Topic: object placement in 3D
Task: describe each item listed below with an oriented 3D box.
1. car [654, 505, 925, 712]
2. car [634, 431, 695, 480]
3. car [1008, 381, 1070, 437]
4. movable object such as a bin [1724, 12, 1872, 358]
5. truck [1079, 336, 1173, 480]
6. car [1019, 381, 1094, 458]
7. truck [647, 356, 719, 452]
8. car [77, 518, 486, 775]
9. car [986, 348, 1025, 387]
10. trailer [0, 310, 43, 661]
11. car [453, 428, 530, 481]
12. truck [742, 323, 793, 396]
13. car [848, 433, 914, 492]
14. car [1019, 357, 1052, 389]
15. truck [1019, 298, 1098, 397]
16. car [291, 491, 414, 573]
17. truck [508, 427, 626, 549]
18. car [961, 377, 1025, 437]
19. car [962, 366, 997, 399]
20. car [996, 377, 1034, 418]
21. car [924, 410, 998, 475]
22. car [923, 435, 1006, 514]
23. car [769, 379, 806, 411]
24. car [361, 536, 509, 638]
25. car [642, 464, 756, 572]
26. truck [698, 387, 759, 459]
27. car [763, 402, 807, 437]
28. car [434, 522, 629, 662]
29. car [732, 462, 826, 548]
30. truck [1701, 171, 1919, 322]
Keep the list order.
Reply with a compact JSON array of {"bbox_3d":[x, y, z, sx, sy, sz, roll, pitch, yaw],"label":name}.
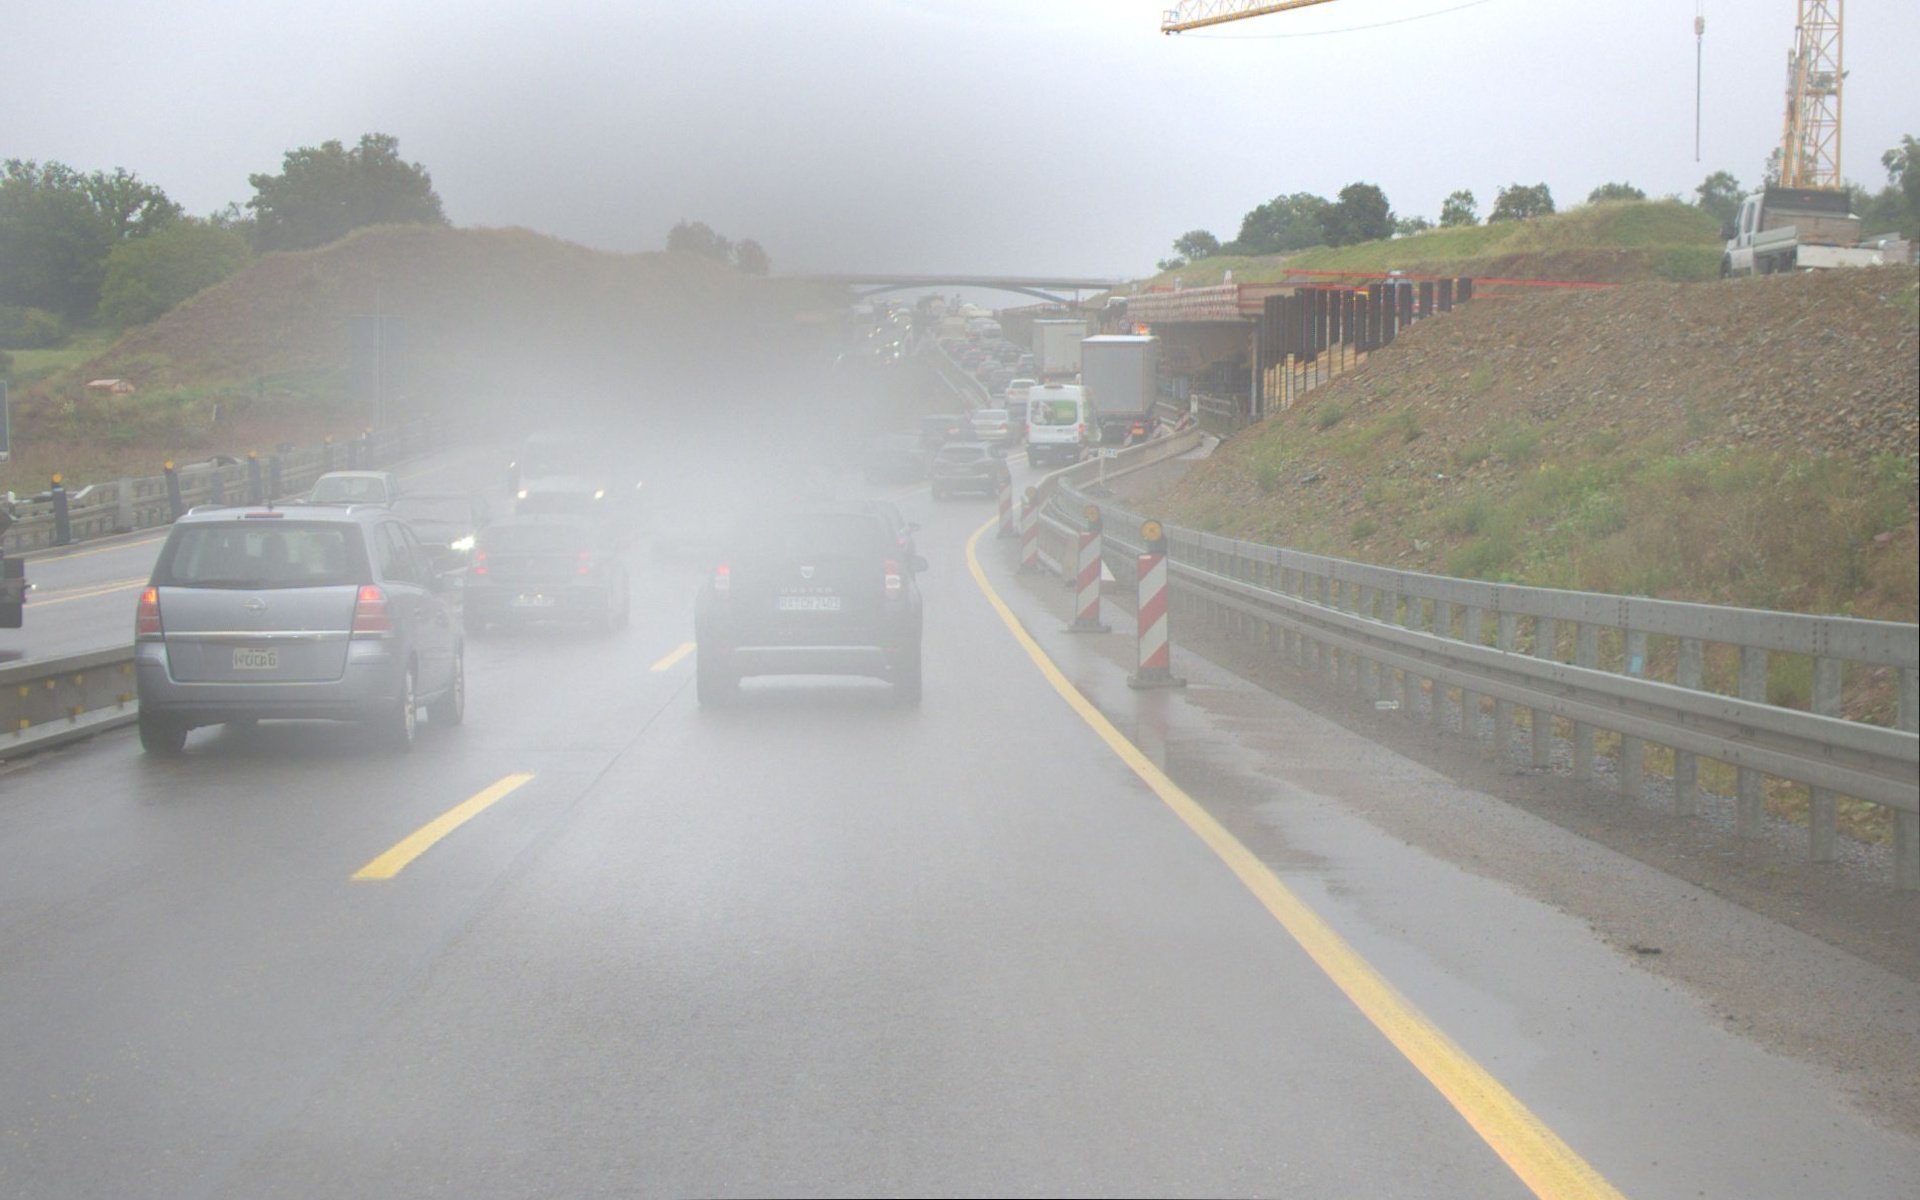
[{"bbox_3d":[-1.339,0.026,28.665,2.081,1.595,4.141,0,1,0],"label":"car"},{"bbox_3d":[-9.482,-4.642,110.430,1.676,1.518,4.346,0,3,-1],"label":"car"},{"bbox_3d":[3.283,-7.886,142.145,1.994,2.155,4.139,0,1,9],"label":"car"},{"bbox_3d":[28.897,-14.032,118.677,4.721,10.804,10.298,0,1,13],"label":"movable object such as a bin"},{"bbox_3d":[6.687,-7.572,137.321,3.102,5.407,9.441,0,1,7],"label":"truck"},{"bbox_3d":[3.334,-6.165,118.274,1.994,2.475,4.980,0,1,8],"label":"car"},{"bbox_3d":[-11.786,-8.387,146.981,2.641,3.956,9.216,0,4,-2],"label":"truck"},{"bbox_3d":[-4.505,0.249,23.448,1.993,1.595,4.141,0,1,0],"label":"car"},{"bbox_3d":[2.509,-12.756,188.860,1.993,2.006,4.001,-1,3,-1],"label":"car"},{"bbox_3d":[-11.207,-1.105,31.749,2.620,3.665,12.005,0,1,-2],"label":"trailer"},{"bbox_3d":[-13.955,-4.329,102.572,1.787,1.533,4.312,0,2,-1],"label":"car"},{"bbox_3d":[-13.492,-16.843,241.381,3.083,4.902,8.565,1,3,0],"label":"truck"},{"bbox_3d":[-2.454,-4.283,107.668,1.993,1.755,3.815,0,1,0],"label":"car"},{"bbox_3d":[5.115,-15.359,232.866,1.993,2.007,4.000,0,1,-2],"label":"car"},{"bbox_3d":[5.611,-14.467,198.316,3.803,5.025,12.923,0,1,-2],"label":"truck"},{"bbox_3d":[-11.834,-1.348,67.189,1.788,1.541,4.001,0,2,-1],"label":"car"},{"bbox_3d":[-8.573,-2.418,75.436,2.078,2.567,5.962,0,1,-2],"label":"truck"},{"bbox_3d":[1.280,-7.393,132.107,1.994,2.155,4.139,0,1,7],"label":"car"},{"bbox_3d":[1.197,-13.427,212.331,1.993,2.006,4.001,-1,3,-1],"label":"car"},{"bbox_3d":[2.755,-10.198,173.487,1.849,1.887,4.022,0,1,0],"label":"car"},{"bbox_3d":[0.049,-5.470,119.922,1.994,2.155,4.139,0,1,8],"label":"car"},{"bbox_3d":[0.146,-3.510,96.779,1.994,2.155,4.140,0,1,5],"label":"car"},{"bbox_3d":[-9.128,-10.861,182.211,1.737,1.678,5.553,1,3,-1],"label":"car"},{"bbox_3d":[-8.399,-0.241,55.325,1.772,1.499,4.680,0,2,-2],"label":"car"},{"bbox_3d":[-4.968,-1.571,65.892,1.993,2.007,3.894,0,1,-2],"label":"car"},{"bbox_3d":[-8.947,-6.848,133.276,2.147,2.704,6.017,0,3,-2],"label":"truck"},{"bbox_3d":[-7.617,-7.887,150.051,1.868,1.466,4.672,0,3,-2],"label":"car"},{"bbox_3d":[-5.082,-0.131,41.287,1.993,1.595,4.141,0,1,-2],"label":"car"},{"bbox_3d":[-4.625,-2.429,88.487,1.994,2.155,4.140,0,1,3],"label":"car"},{"bbox_3d":[17.554,-7.264,71.397,2.645,2.546,6.985,0,1,-2],"label":"truck"}]
